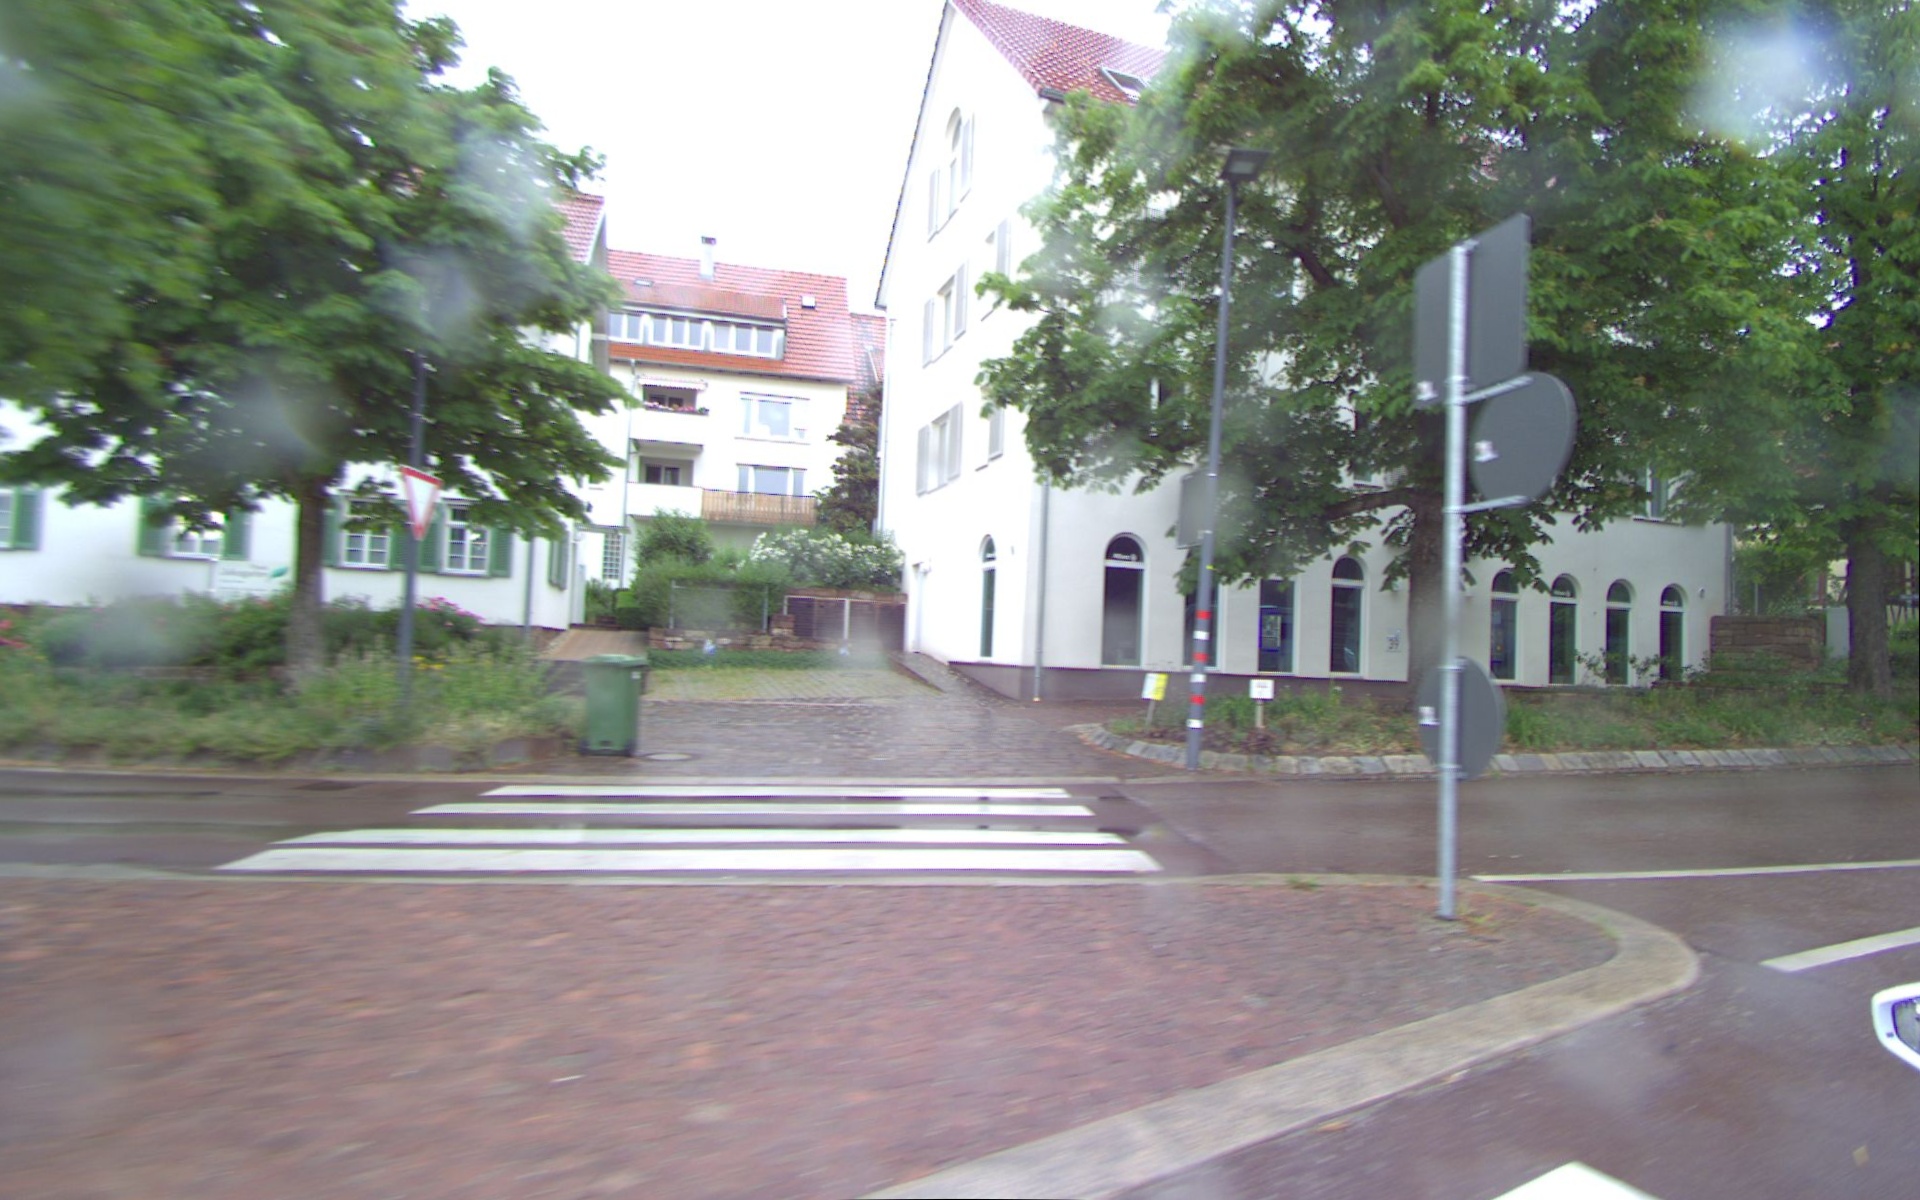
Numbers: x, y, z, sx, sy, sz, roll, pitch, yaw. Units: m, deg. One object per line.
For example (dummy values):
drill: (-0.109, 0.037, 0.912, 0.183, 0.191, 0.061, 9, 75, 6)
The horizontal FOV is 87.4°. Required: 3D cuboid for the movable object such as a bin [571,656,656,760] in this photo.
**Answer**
movable object such as a bin: (-3.716, 1.147, 10.812, 0.684, 1.072, 0.636, 1, -3, -4)
